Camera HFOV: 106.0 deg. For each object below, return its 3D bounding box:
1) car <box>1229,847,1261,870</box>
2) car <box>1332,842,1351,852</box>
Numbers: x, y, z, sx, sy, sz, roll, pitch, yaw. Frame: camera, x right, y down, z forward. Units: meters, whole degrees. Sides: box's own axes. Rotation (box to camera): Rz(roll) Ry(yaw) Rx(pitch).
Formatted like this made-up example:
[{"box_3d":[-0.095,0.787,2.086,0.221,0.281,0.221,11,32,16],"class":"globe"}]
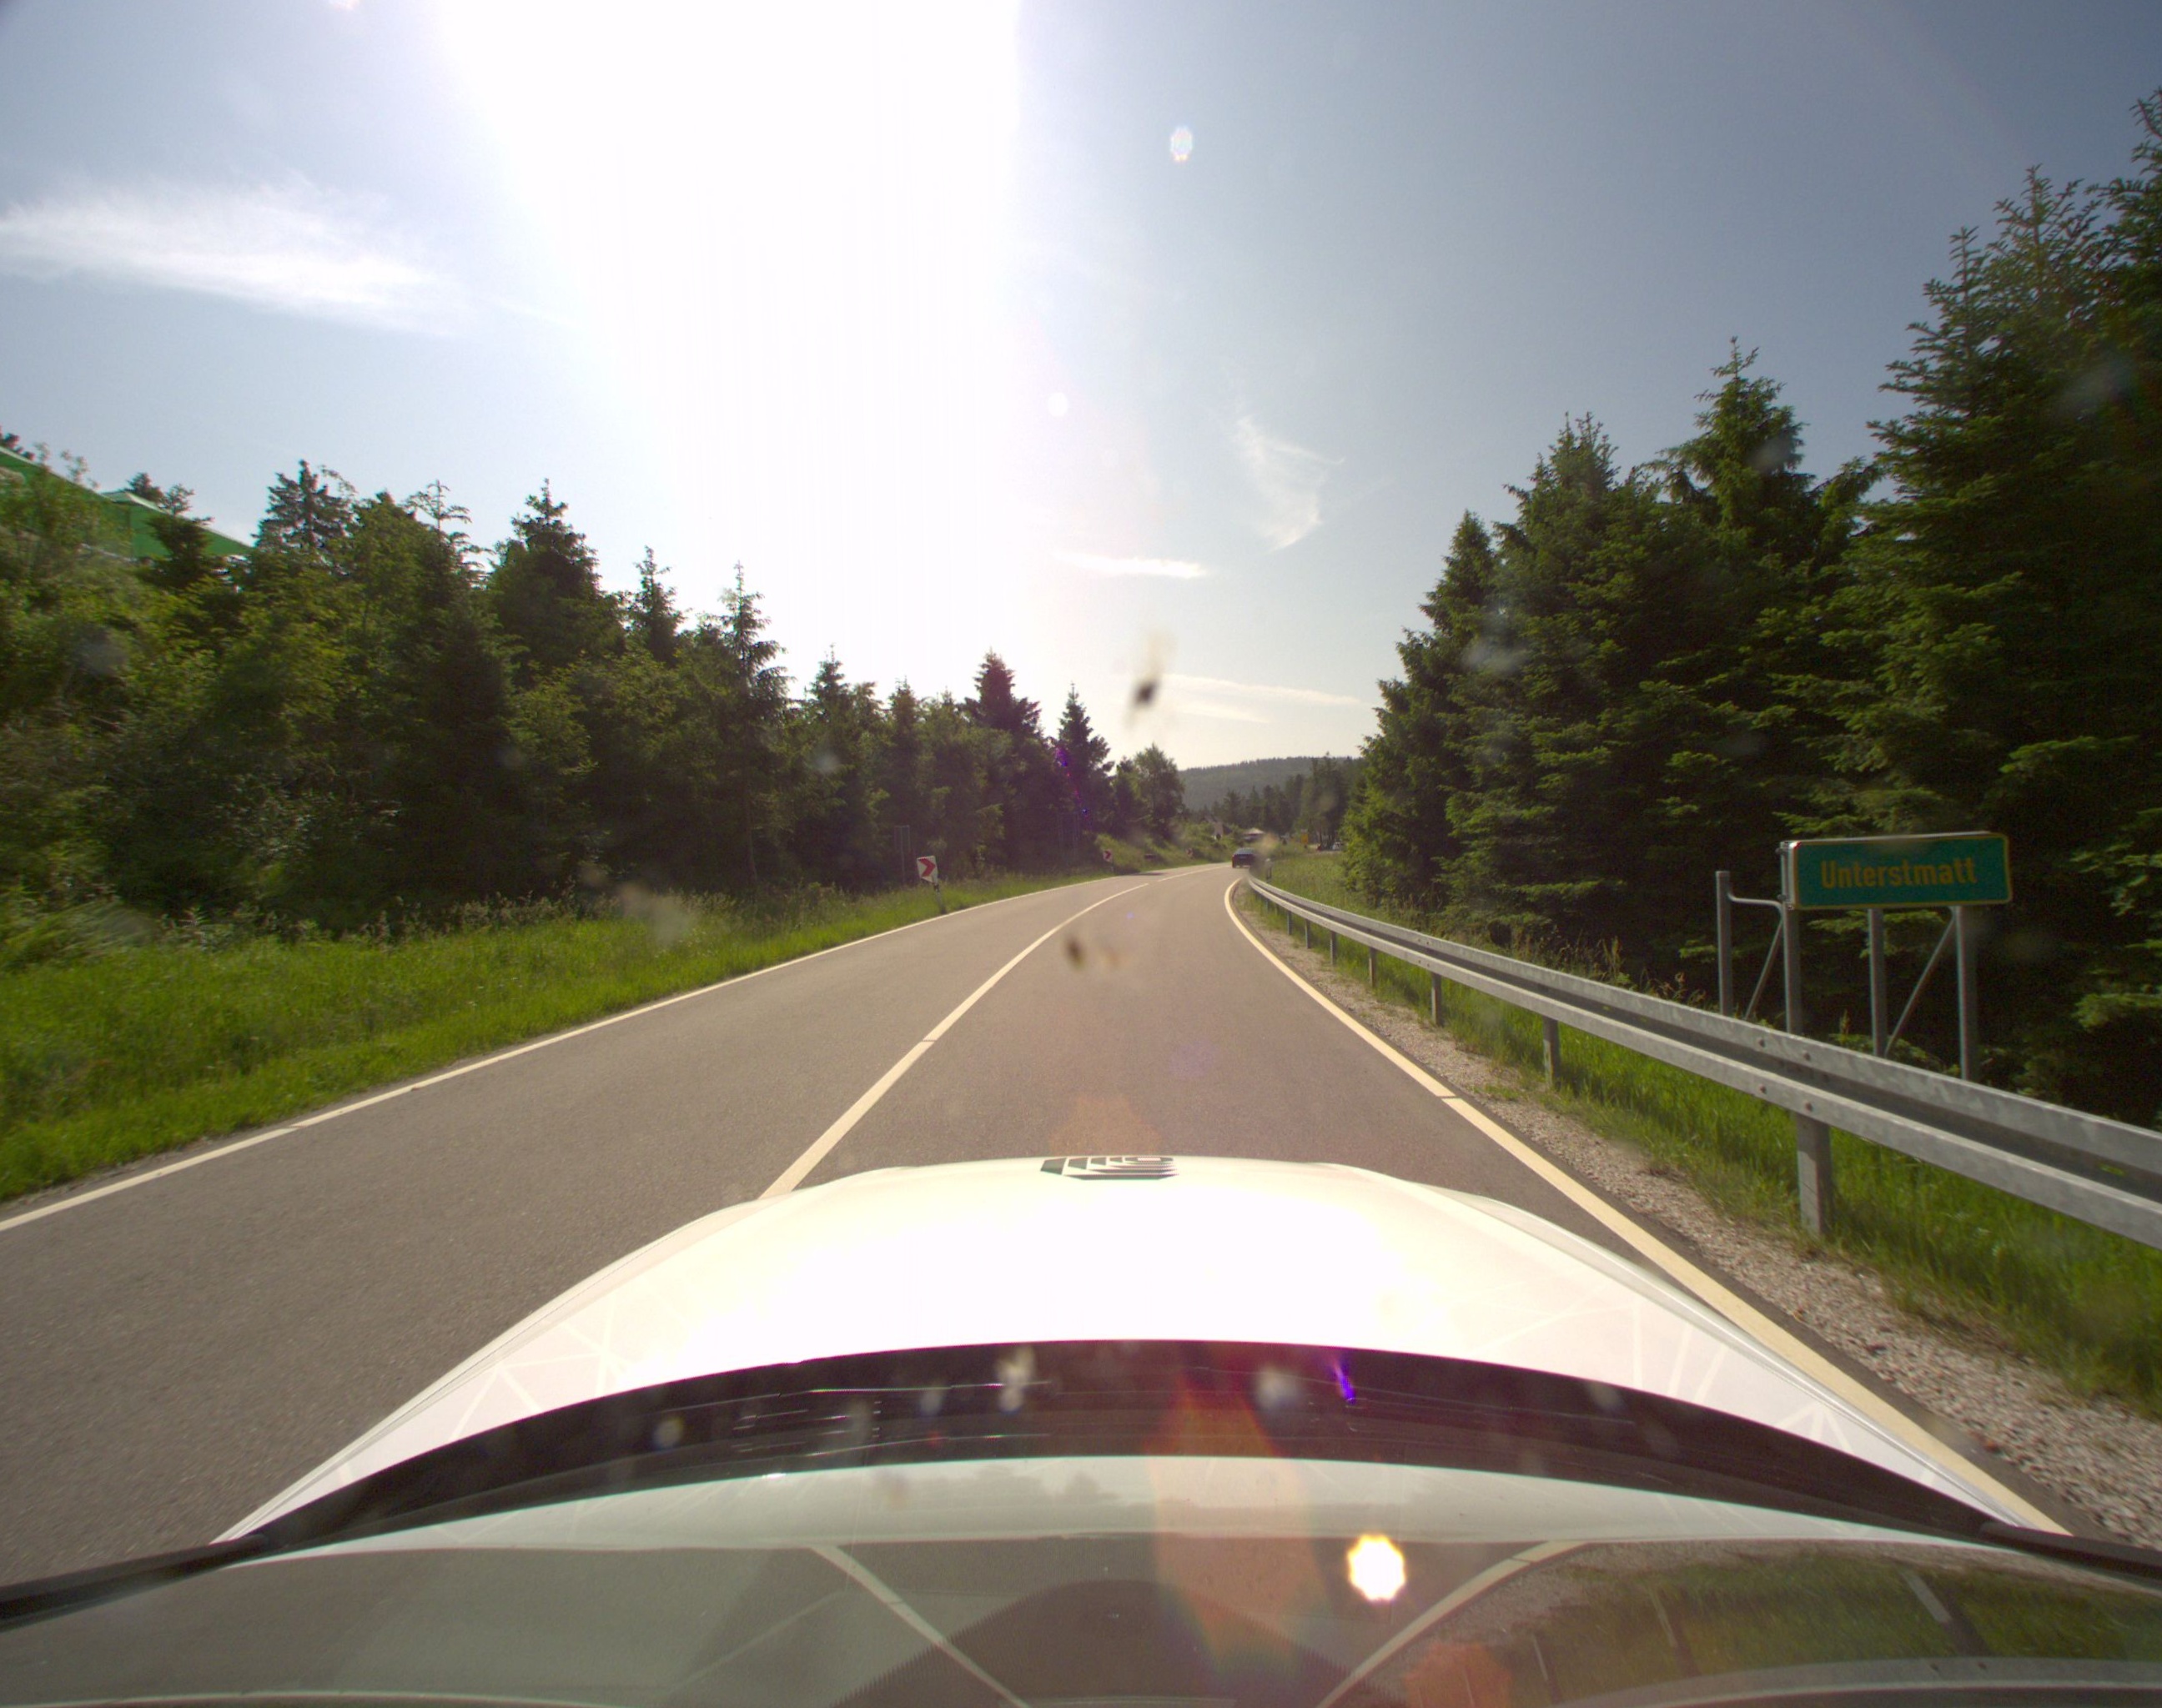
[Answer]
[{"box_3d":[11.838,0.275,58.613,1.762,1.441,3.727,3,3,18],"class":"car"},{"box_3d":[48.385,-1.269,151.283,1.836,1.671,4.413,-3,0,37],"class":"car"}]
